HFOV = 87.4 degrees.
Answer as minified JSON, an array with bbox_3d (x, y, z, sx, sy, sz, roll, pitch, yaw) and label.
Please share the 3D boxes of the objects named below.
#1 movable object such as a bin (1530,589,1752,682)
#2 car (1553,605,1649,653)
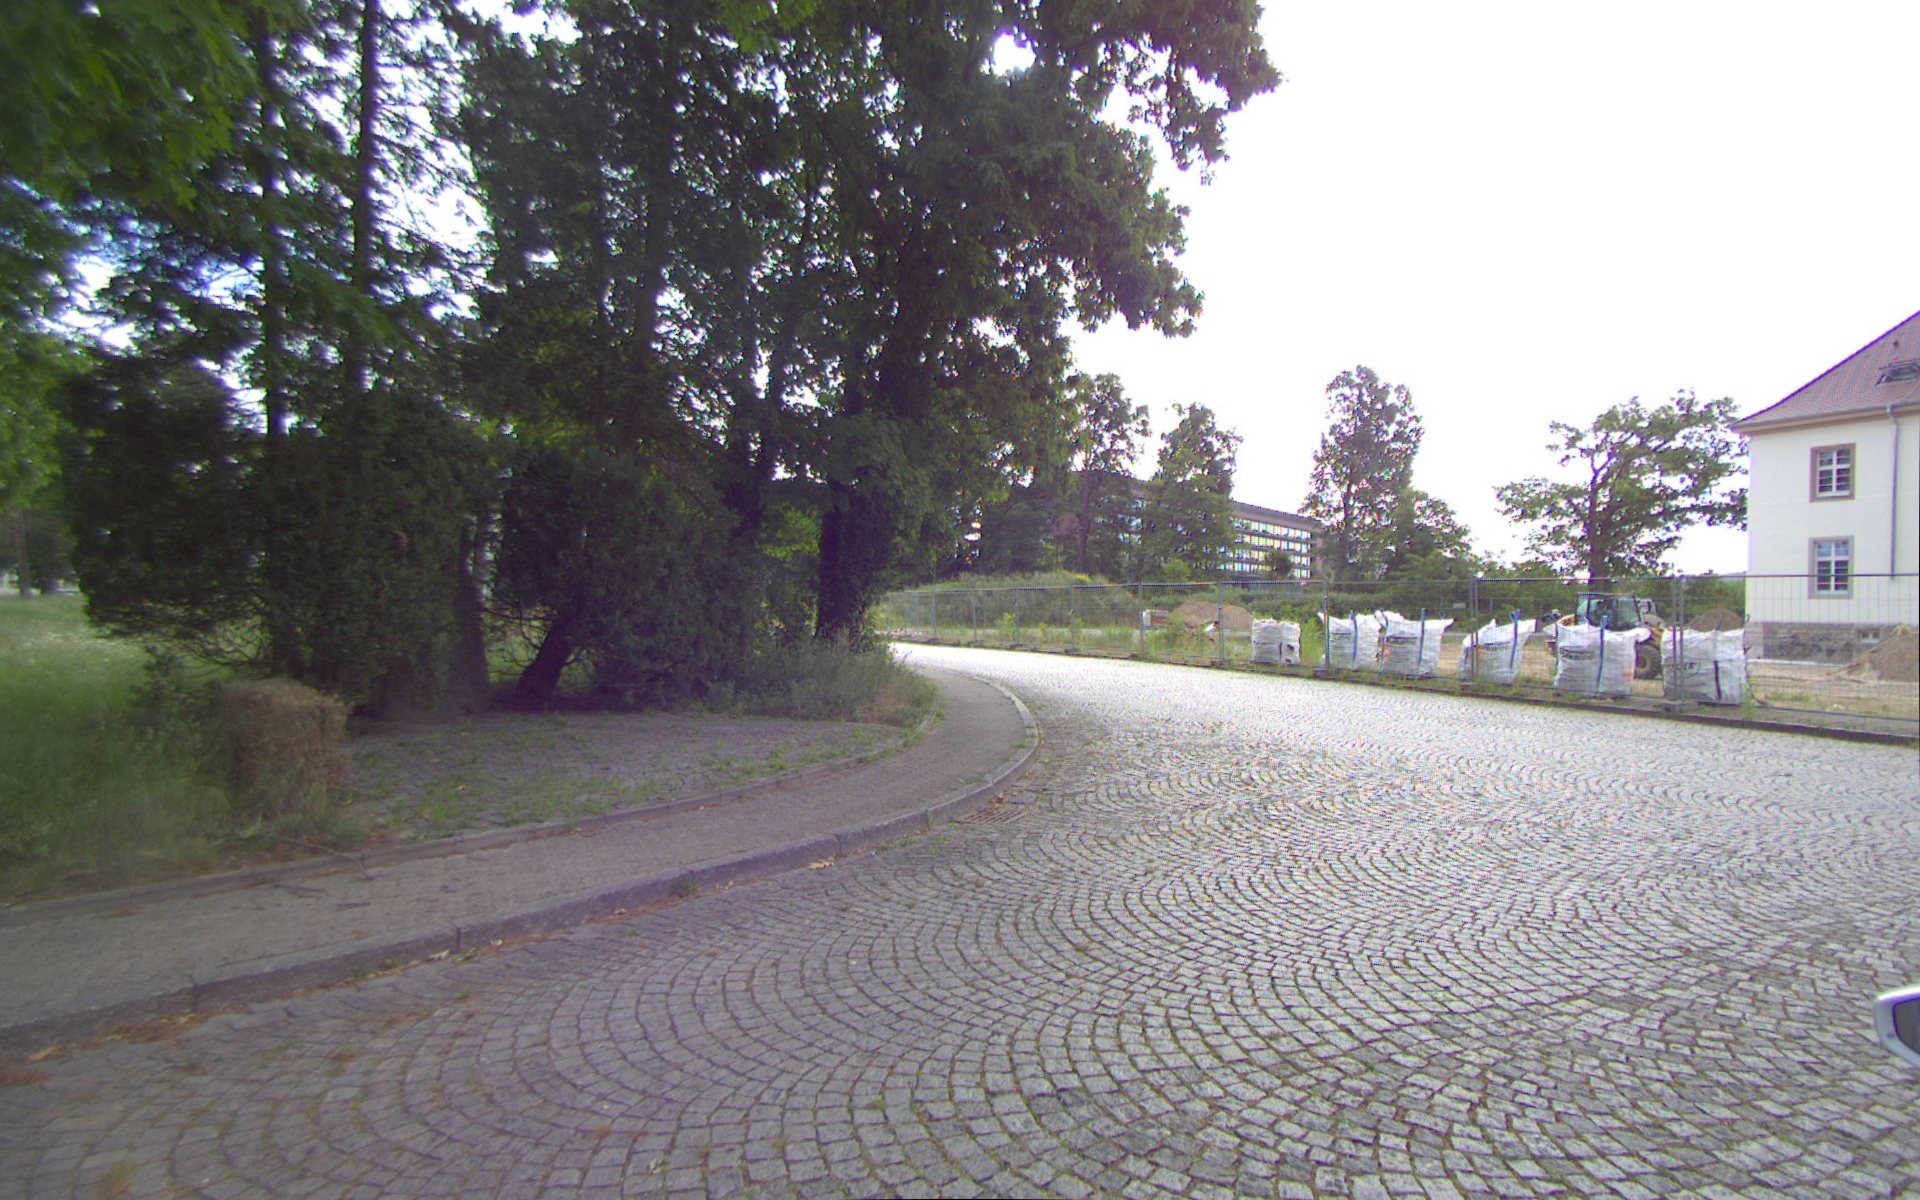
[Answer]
[{"bbox_3d":[20.516,0.995,30.561,1.974,2.590,5.310,1,0,-26],"label":"movable object such as a bin"},{"bbox_3d":[31.183,1.395,48.828,4.845,2.179,2.056,1,0,-32],"label":"car"}]
